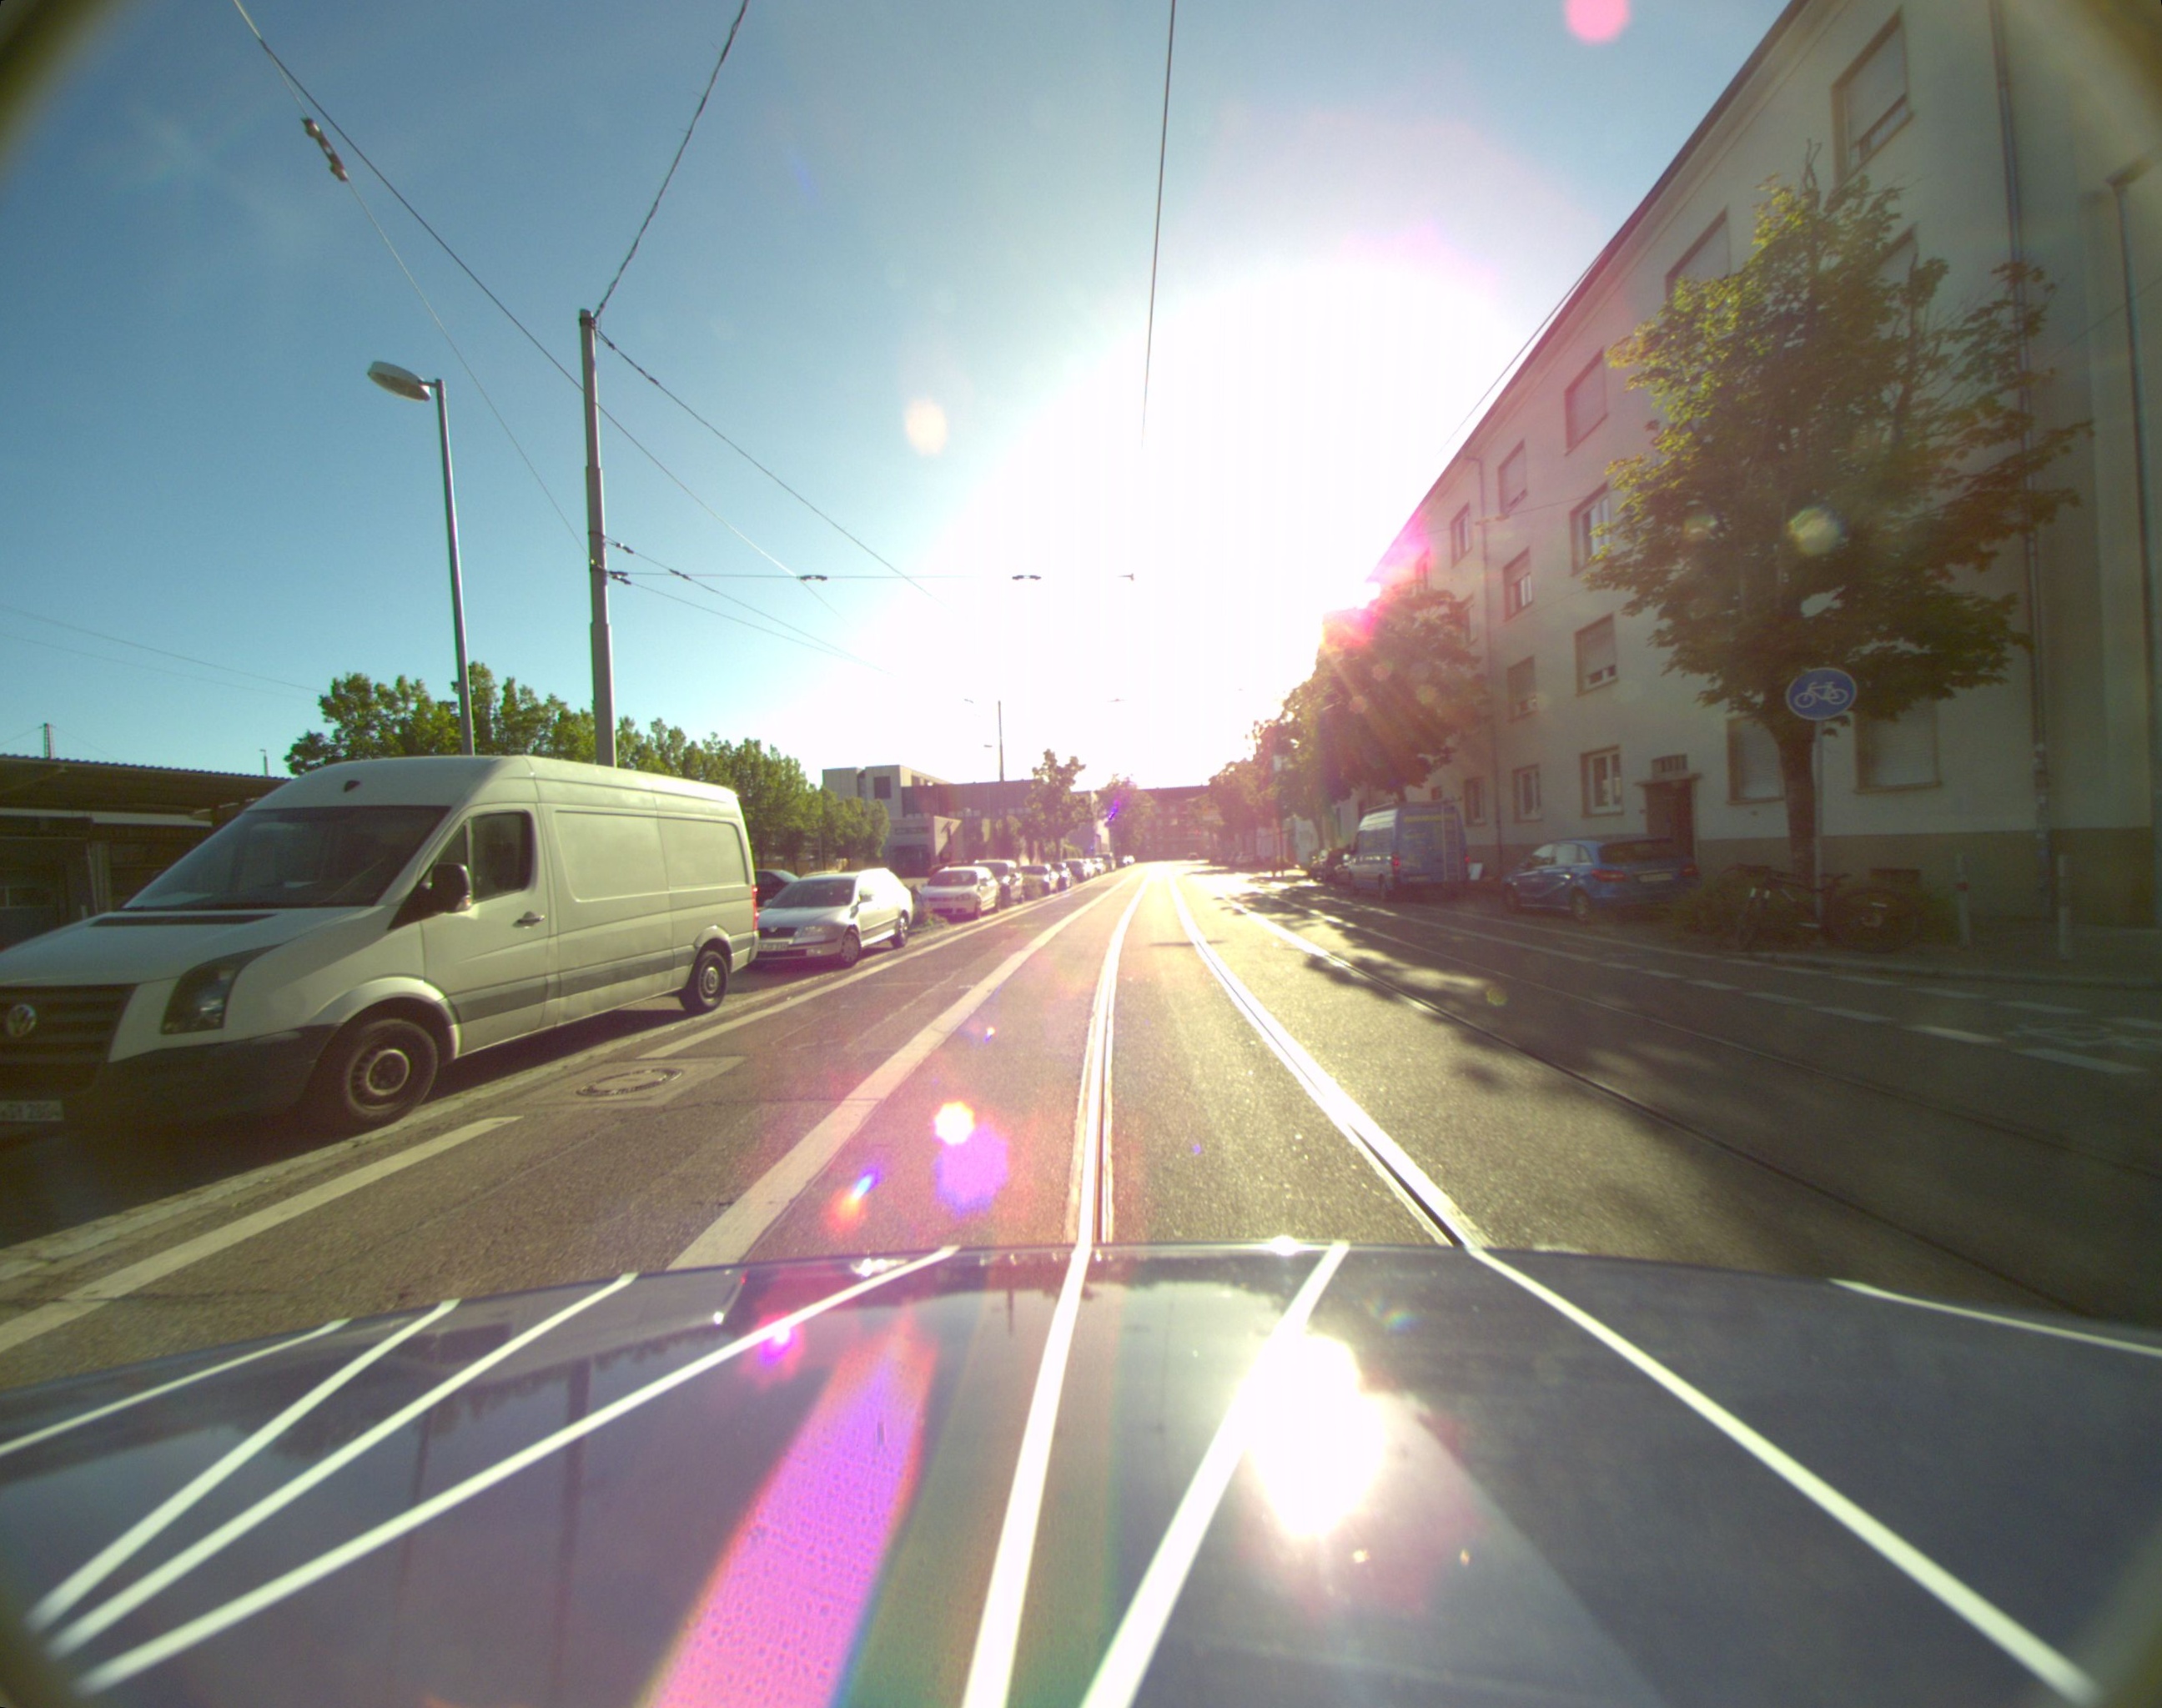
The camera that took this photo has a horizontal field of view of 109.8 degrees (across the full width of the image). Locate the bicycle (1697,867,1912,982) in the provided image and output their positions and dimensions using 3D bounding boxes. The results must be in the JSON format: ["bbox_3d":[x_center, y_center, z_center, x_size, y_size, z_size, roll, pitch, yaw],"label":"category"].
[{"bbox_3d":[8.346,0.749,8.913,0.513,1.127,2.031,-4,0,-1],"label":"bicycle"}]

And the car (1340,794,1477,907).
[{"bbox_3d":[9.448,-0.120,22.575,2.021,2.809,6.034,-4,0,7],"label":"car"}]

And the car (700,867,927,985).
[{"bbox_3d":[-4.329,1.087,13.236,1.914,1.521,4.602,-2,0,5],"label":"car"}]

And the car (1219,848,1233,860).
[{"bbox_3d":[19.867,0.002,104.226,1.575,1.496,4.001,-4,0,6],"label":"car"}]

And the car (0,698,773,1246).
[{"bbox_3d":[-5.316,0.557,6.781,2.185,2.650,6.092,-1,1,5],"label":"car"}]

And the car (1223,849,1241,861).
[{"bbox_3d":[19.495,0.148,98.248,1.877,1.420,4.294,-4,0,6],"label":"car"}]

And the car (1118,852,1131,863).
[{"bbox_3d":[6.245,0.476,108.642,1.706,1.473,4.660,0,1,6],"label":"car"}]

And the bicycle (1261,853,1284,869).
[{"bbox_3d":[14.225,0.492,56.467,1.990,1.034,0.531,-4,1,-39],"label":"bicycle"}]

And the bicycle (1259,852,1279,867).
[{"bbox_3d":[14.892,0.449,60.222,0.667,1.034,1.790,-3,1,44],"label":"bicycle"}]

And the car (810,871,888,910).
[{"bbox_3d":[-7.575,1.166,25.048,1.312,1.027,3.057,-4,0,5],"label":"car"}]

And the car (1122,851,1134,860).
[{"bbox_3d":[7.528,0.266,122.344,1.716,1.481,4.625,-2,0,6],"label":"car"}]

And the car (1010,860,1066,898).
[{"bbox_3d":[-1.921,1.128,35.413,1.731,1.455,4.500,-4,0,7],"label":"car"}]

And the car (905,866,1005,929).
[{"bbox_3d":[-3.512,1.170,22.015,1.731,1.503,4.253,-1,1,6],"label":"car"}]

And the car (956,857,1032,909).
[{"bbox_3d":[-2.942,0.956,26.605,1.731,1.595,4.344,-1,1,6],"label":"car"}]

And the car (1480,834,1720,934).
[{"bbox_3d":[9.719,0.474,14.777,1.794,1.551,4.644,-4,0,6],"label":"car"}]

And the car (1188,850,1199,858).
[{"bbox_3d":[21.780,-0.082,147.630,1.769,1.455,4.748,-2,1,5],"label":"car"}]

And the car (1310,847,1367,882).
[{"bbox_3d":[12.104,0.455,35.936,1.655,1.482,4.001,-4,0,7],"label":"car"}]

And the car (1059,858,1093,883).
[{"bbox_3d":[-0.283,1.023,49.507,1.828,1.484,3.815,-1,1,4],"label":"car"}]

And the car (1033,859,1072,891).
[{"bbox_3d":[-1.500,1.105,41.343,1.732,1.455,4.341,-4,0,2],"label":"car"}]

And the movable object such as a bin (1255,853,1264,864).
[{"bbox_3d":[16.047,0.409,68.325,0.583,0.954,0.702,-8,0,7],"label":"movable object such as a bin"}]

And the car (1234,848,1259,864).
[{"bbox_3d":[16.402,0.168,75.387,1.868,1.482,4.663,-4,0,6],"label":"car"}]

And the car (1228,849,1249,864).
[{"bbox_3d":[17.216,0.244,83.042,1.776,1.477,4.307,-4,0,6],"label":"car"}]

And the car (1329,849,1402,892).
[{"bbox_3d":[11.095,0.594,29.907,1.655,1.416,4.191,-4,0,7],"label":"car"}]

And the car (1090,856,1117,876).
[{"bbox_3d":[1.957,1.040,65.399,1.828,1.476,4.603,-4,0,7],"label":"car"}]
